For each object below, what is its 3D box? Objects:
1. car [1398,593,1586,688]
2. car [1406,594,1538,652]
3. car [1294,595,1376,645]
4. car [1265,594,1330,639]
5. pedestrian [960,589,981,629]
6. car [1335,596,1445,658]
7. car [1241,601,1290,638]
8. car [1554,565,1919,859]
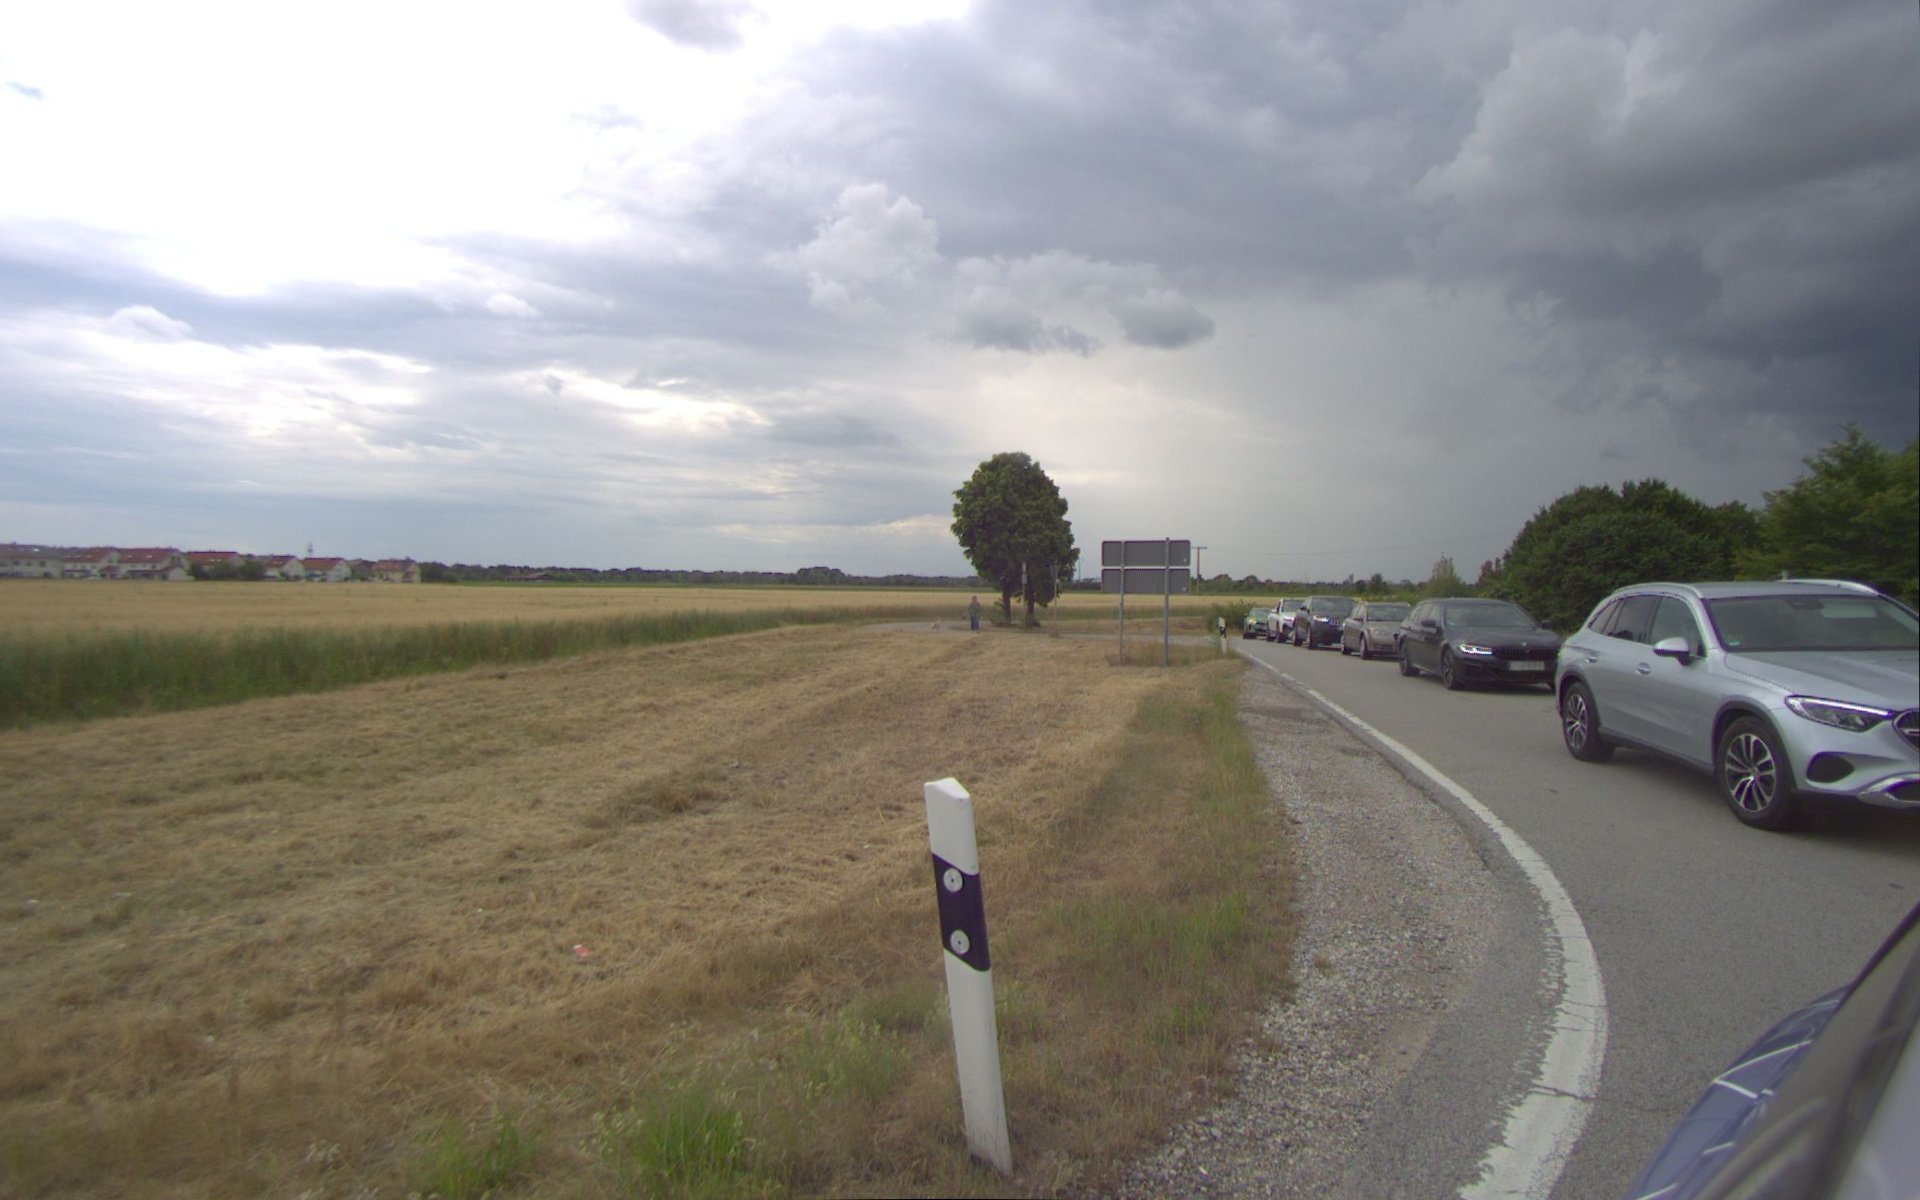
[{"bbox_3d":[8.982,0.606,17.532,1.696,1.370,4.677,-1,0,13],"label":"car"},{"bbox_3d":[14.976,0.621,29.888,1.787,1.425,4.311,1,2,2],"label":"car"},{"bbox_3d":[11.647,0.582,31.691,1.695,1.370,4.200,-2,0,11],"label":"car"},{"bbox_3d":[12.674,0.581,38.267,1.695,1.513,4.624,-2,0,11],"label":"car"},{"bbox_3d":[0.430,0.374,42.934,0.758,1.631,0.946,1,0,-7],"label":"pedestrian"},{"bbox_3d":[10.795,0.615,25.711,1.695,1.370,4.200,1,1,11],"label":"car"},{"bbox_3d":[13.993,0.867,46.596,1.695,1.513,4.200,-2,0,11],"label":"car"},{"bbox_3d":[6.282,0.570,7.533,1.967,1.606,4.376,-1,0,14],"label":"car"}]
